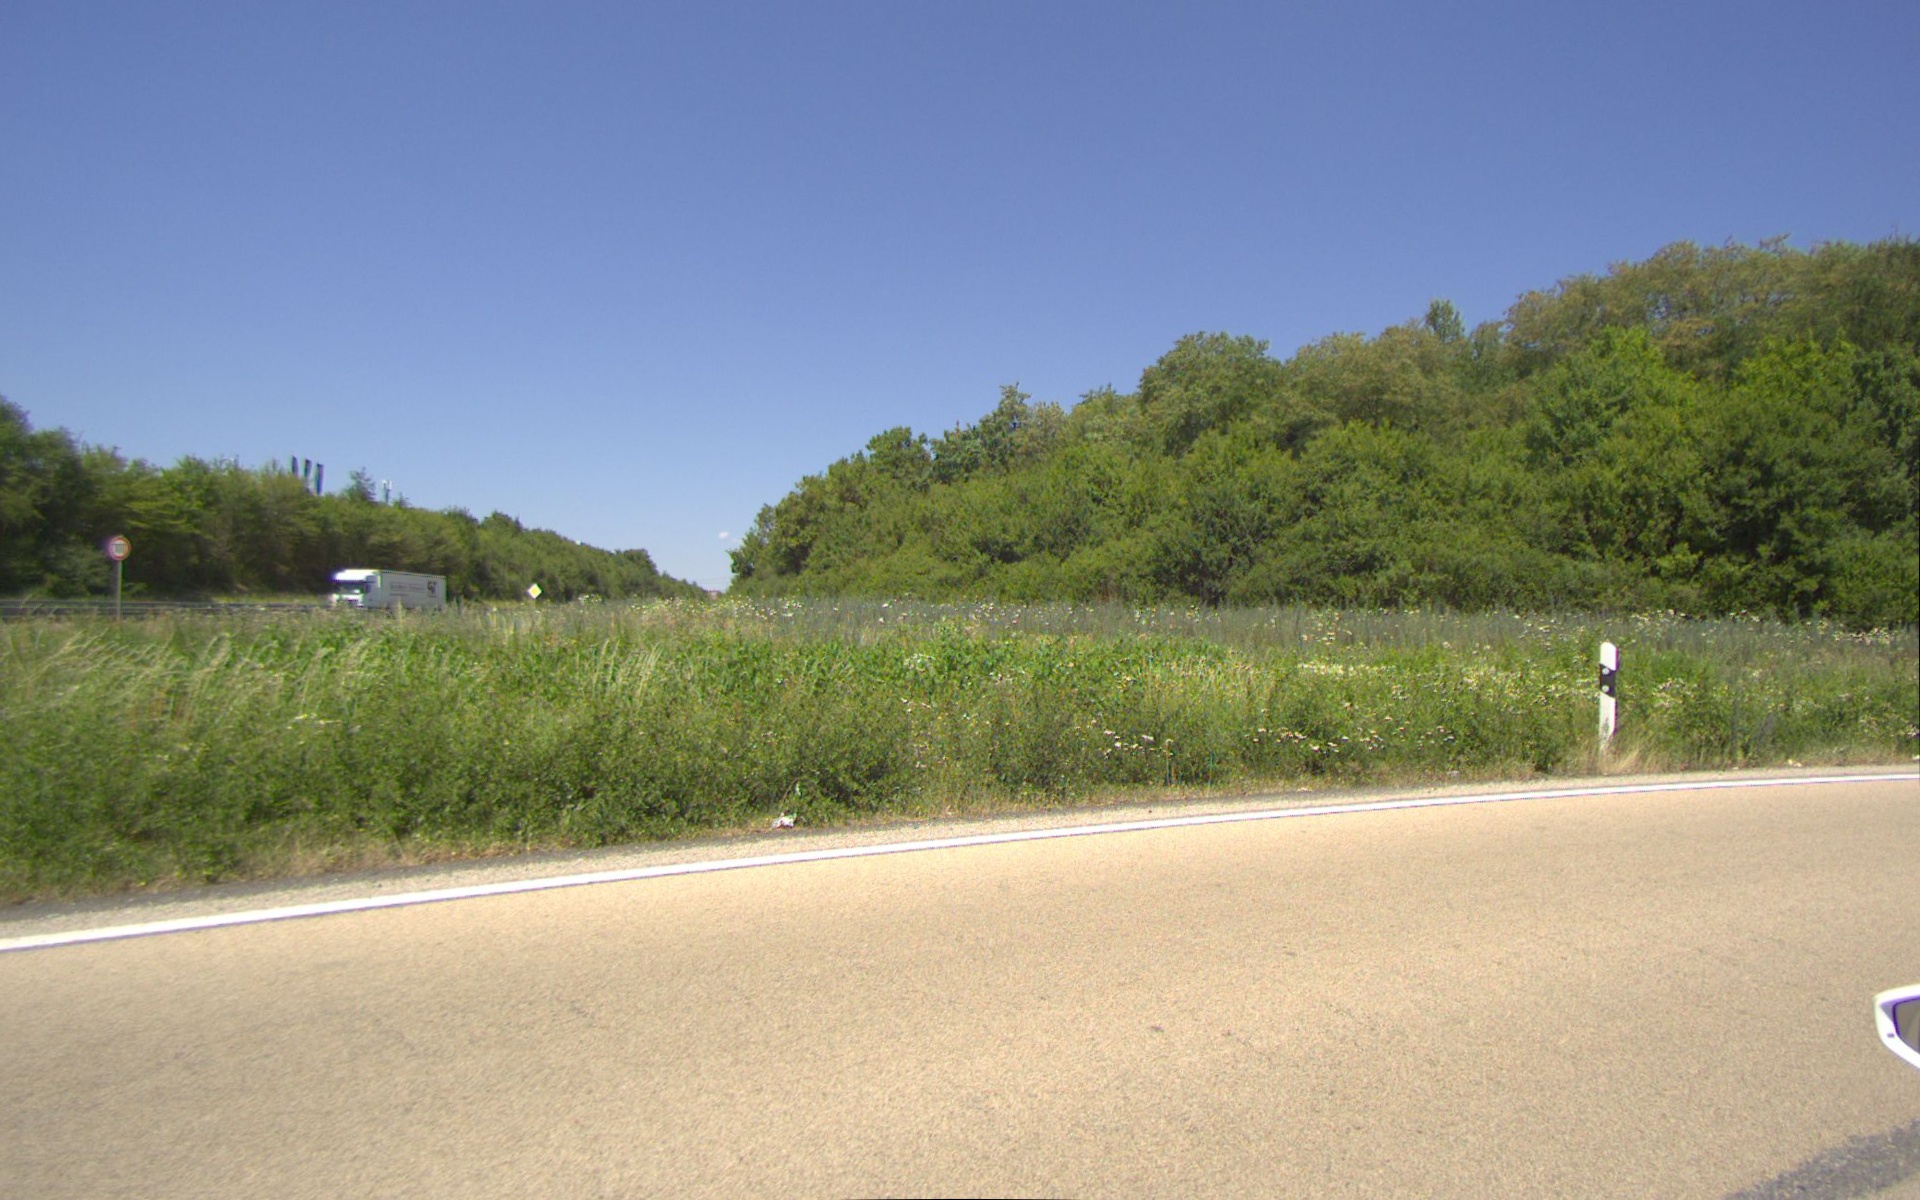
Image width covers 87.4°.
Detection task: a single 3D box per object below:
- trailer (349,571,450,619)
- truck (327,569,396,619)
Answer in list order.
[{"bbox_3d":[-50.692,-0.366,91.455,2.866,3.992,13.265,1,-1,-5],"label":"trailer"},{"bbox_3d":[-50.029,-0.439,84.089,2.866,3.992,5.414,1,0,-5],"label":"truck"}]
